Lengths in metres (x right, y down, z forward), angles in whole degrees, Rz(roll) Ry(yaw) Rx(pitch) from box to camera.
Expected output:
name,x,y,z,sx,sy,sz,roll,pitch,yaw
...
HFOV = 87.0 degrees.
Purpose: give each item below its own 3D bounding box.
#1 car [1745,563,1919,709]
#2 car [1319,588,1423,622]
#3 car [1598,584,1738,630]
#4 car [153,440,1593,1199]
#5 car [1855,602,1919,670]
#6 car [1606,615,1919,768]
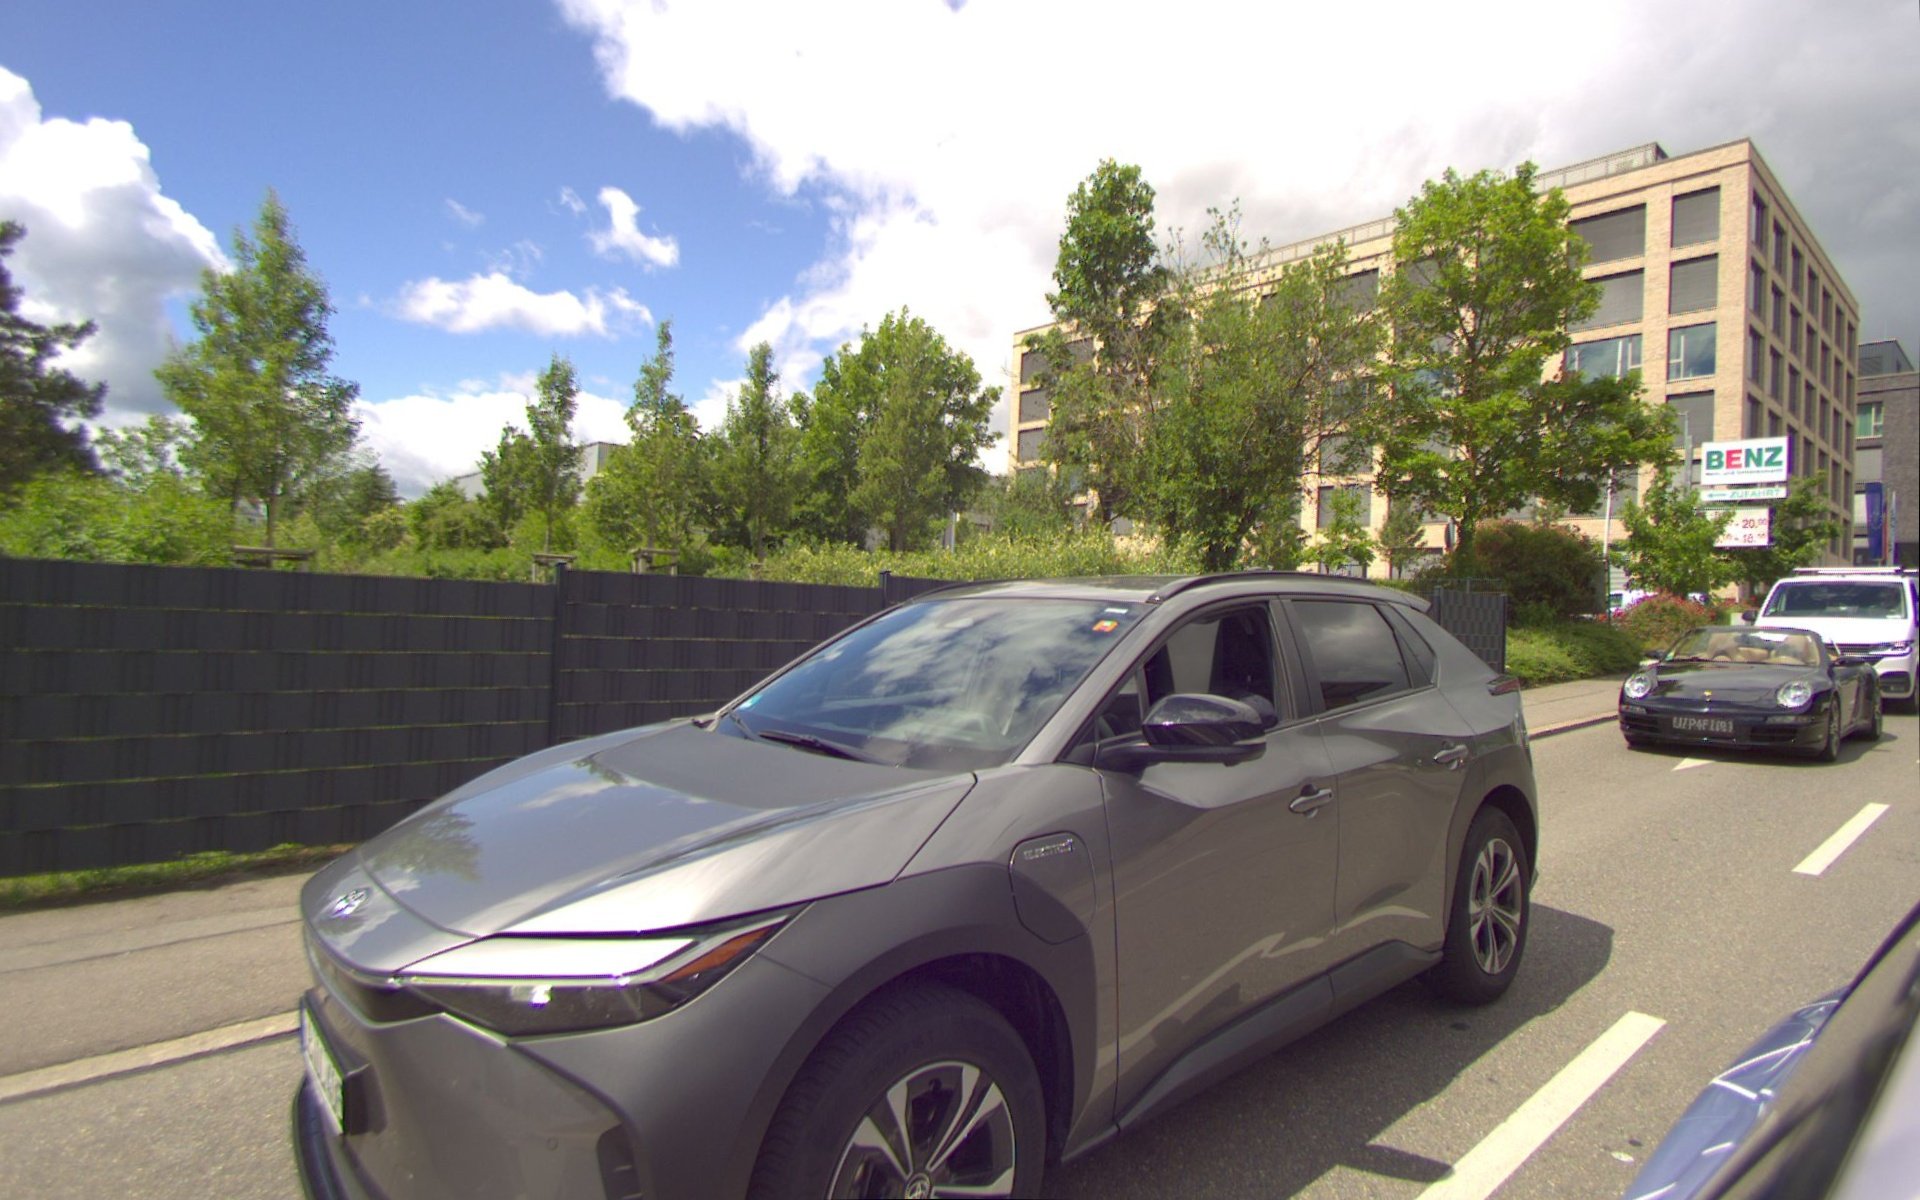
name,x,y,z,sx,sy,sz,roll,pitch,yaw
car,13.558,0.483,15.177,4.563,1.874,1.962,0,-1,-41
car,19.384,0.227,47.840,1.705,1.436,4.215,1,1,-41
car,27.421,0.232,39.287,1.707,1.596,4.211,1,1,-44
car,0.260,0.648,3.418,4.601,1.634,1.922,0,-1,-41
car,20.502,0.714,21.227,4.485,1.290,1.778,0,1,-38
car,8.760,0.822,10.897,4.487,1.290,1.776,0,-1,-40
